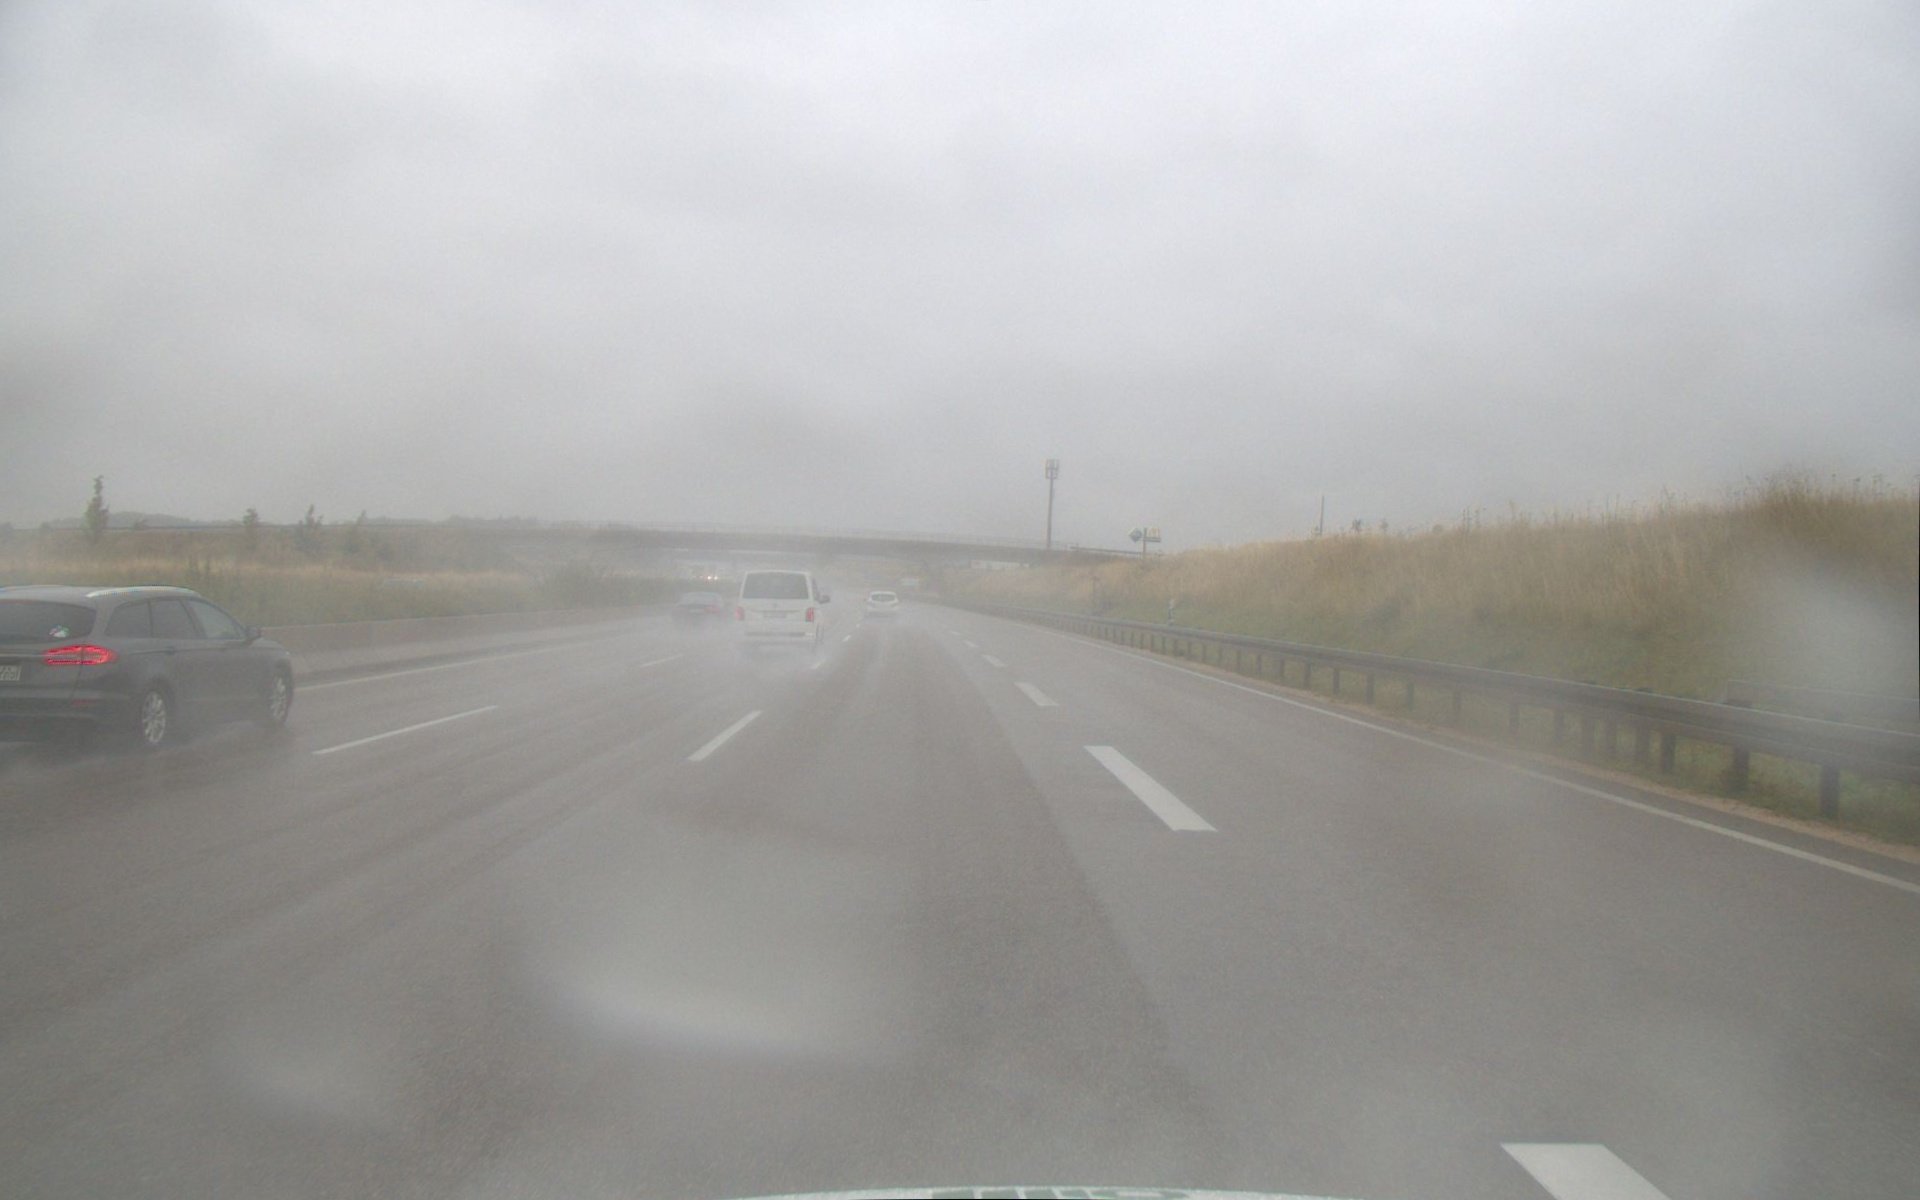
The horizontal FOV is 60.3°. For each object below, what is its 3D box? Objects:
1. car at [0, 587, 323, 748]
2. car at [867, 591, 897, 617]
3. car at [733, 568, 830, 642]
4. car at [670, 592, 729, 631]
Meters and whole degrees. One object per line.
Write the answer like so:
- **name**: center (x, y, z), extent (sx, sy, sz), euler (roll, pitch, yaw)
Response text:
- **car**: center (-7.890, 0.576, 16.433), extent (1.580, 1.378, 4.000), euler (1, 0, 0)
- **car**: center (-3.821, 0.180, 81.732), extent (1.438, 1.229, 2.990), euler (1, 0, -2)
- **car**: center (-4.157, 0.102, 39.070), extent (1.859, 1.613, 3.999), euler (1, 0, -1)
- **car**: center (-8.919, 0.387, 56.856), extent (1.437, 1.279, 3.340), euler (1, 0, 0)
